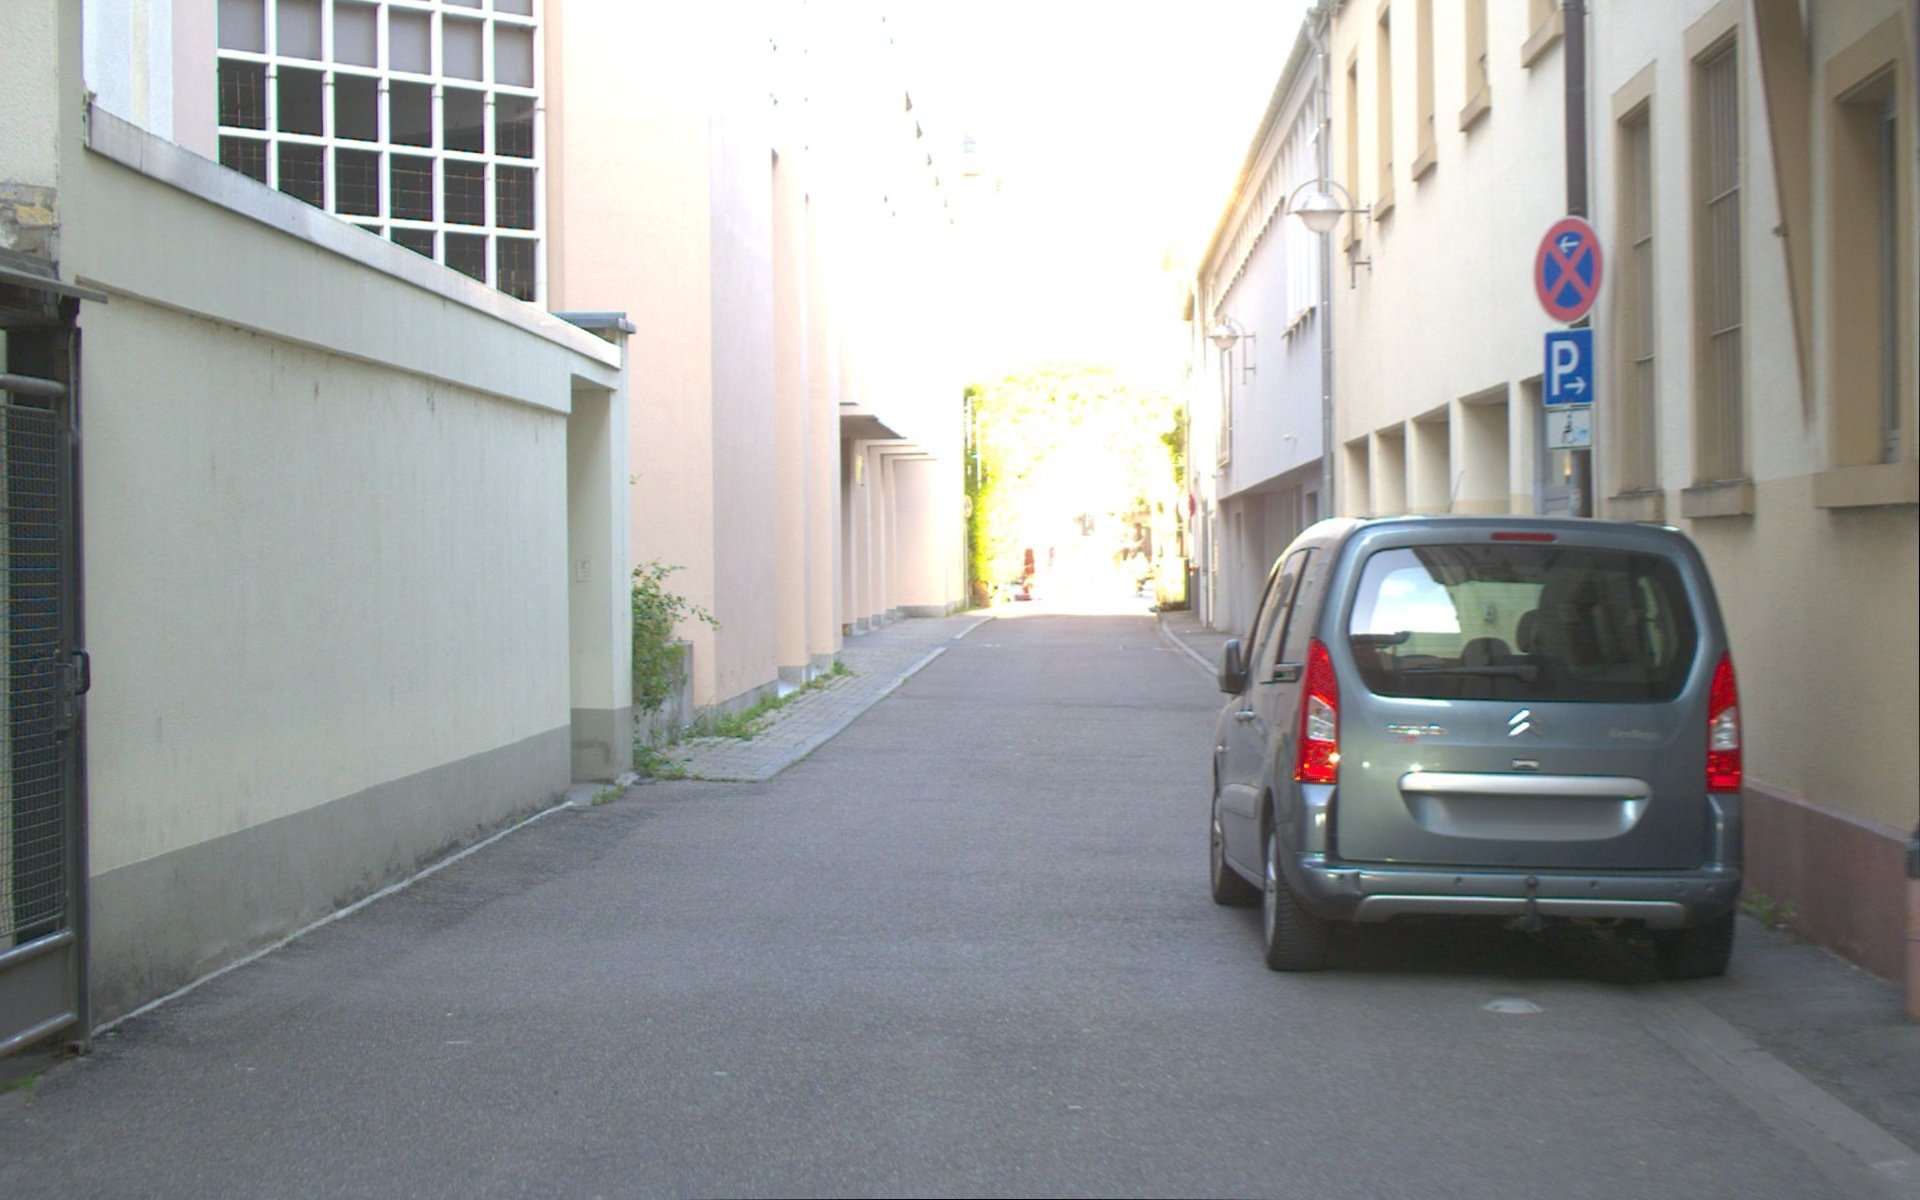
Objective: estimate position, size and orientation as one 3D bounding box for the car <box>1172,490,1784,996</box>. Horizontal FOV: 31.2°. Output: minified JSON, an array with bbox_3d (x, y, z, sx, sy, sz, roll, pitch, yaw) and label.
[{"bbox_3d":[2.026,0.563,14.658,1.855,1.750,4.162,3,-1,-1],"label":"car"}]

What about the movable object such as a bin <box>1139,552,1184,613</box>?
[{"bbox_3d":[5.093,-0.453,86.964,1.107,1.431,1.414,-1,4,2],"label":"movable object such as a bin"}]

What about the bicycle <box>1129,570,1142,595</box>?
[{"bbox_3d":[6.851,-0.685,134.179,0.443,0.912,1.516,1,2,5],"label":"bicycle"}]

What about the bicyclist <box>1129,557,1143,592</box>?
[{"bbox_3d":[6.850,-0.992,134.110,0.512,1.318,0.558,1,2,5],"label":"bicyclist"}]
